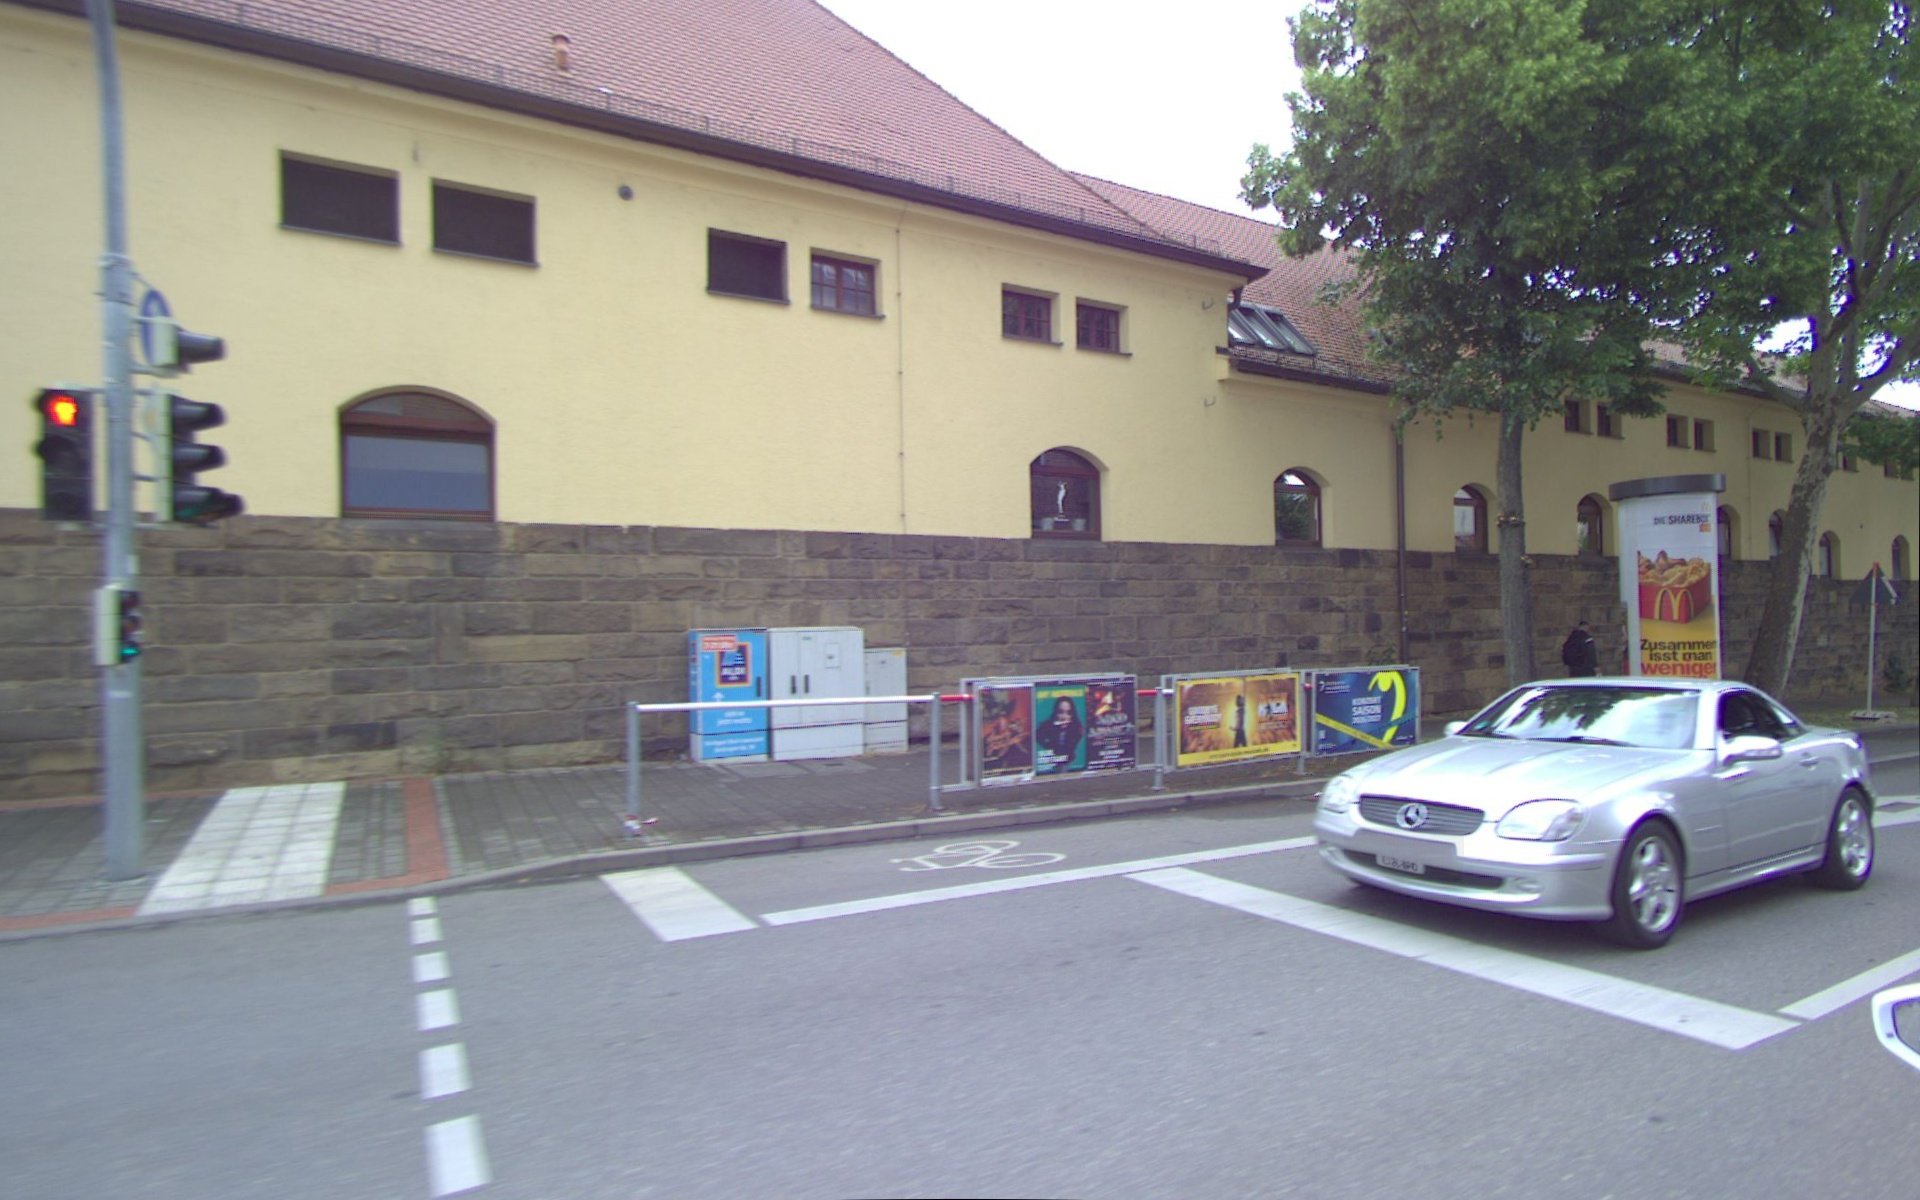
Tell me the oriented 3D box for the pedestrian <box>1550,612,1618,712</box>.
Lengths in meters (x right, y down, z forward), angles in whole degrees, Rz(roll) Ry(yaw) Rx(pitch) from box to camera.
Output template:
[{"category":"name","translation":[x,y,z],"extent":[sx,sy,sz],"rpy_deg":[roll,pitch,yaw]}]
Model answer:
[{"category":"pedestrian","translation":[11.760,1.157,18.945],"extent":[0.864,1.818,0.773],"rpy_deg":[1,-2,-30]}]

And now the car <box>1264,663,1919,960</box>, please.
[{"category":"car","translation":[3.960,1.057,6.135],"extent":[4.045,1.292,1.679],"rpy_deg":[2,-5,-29]}]
